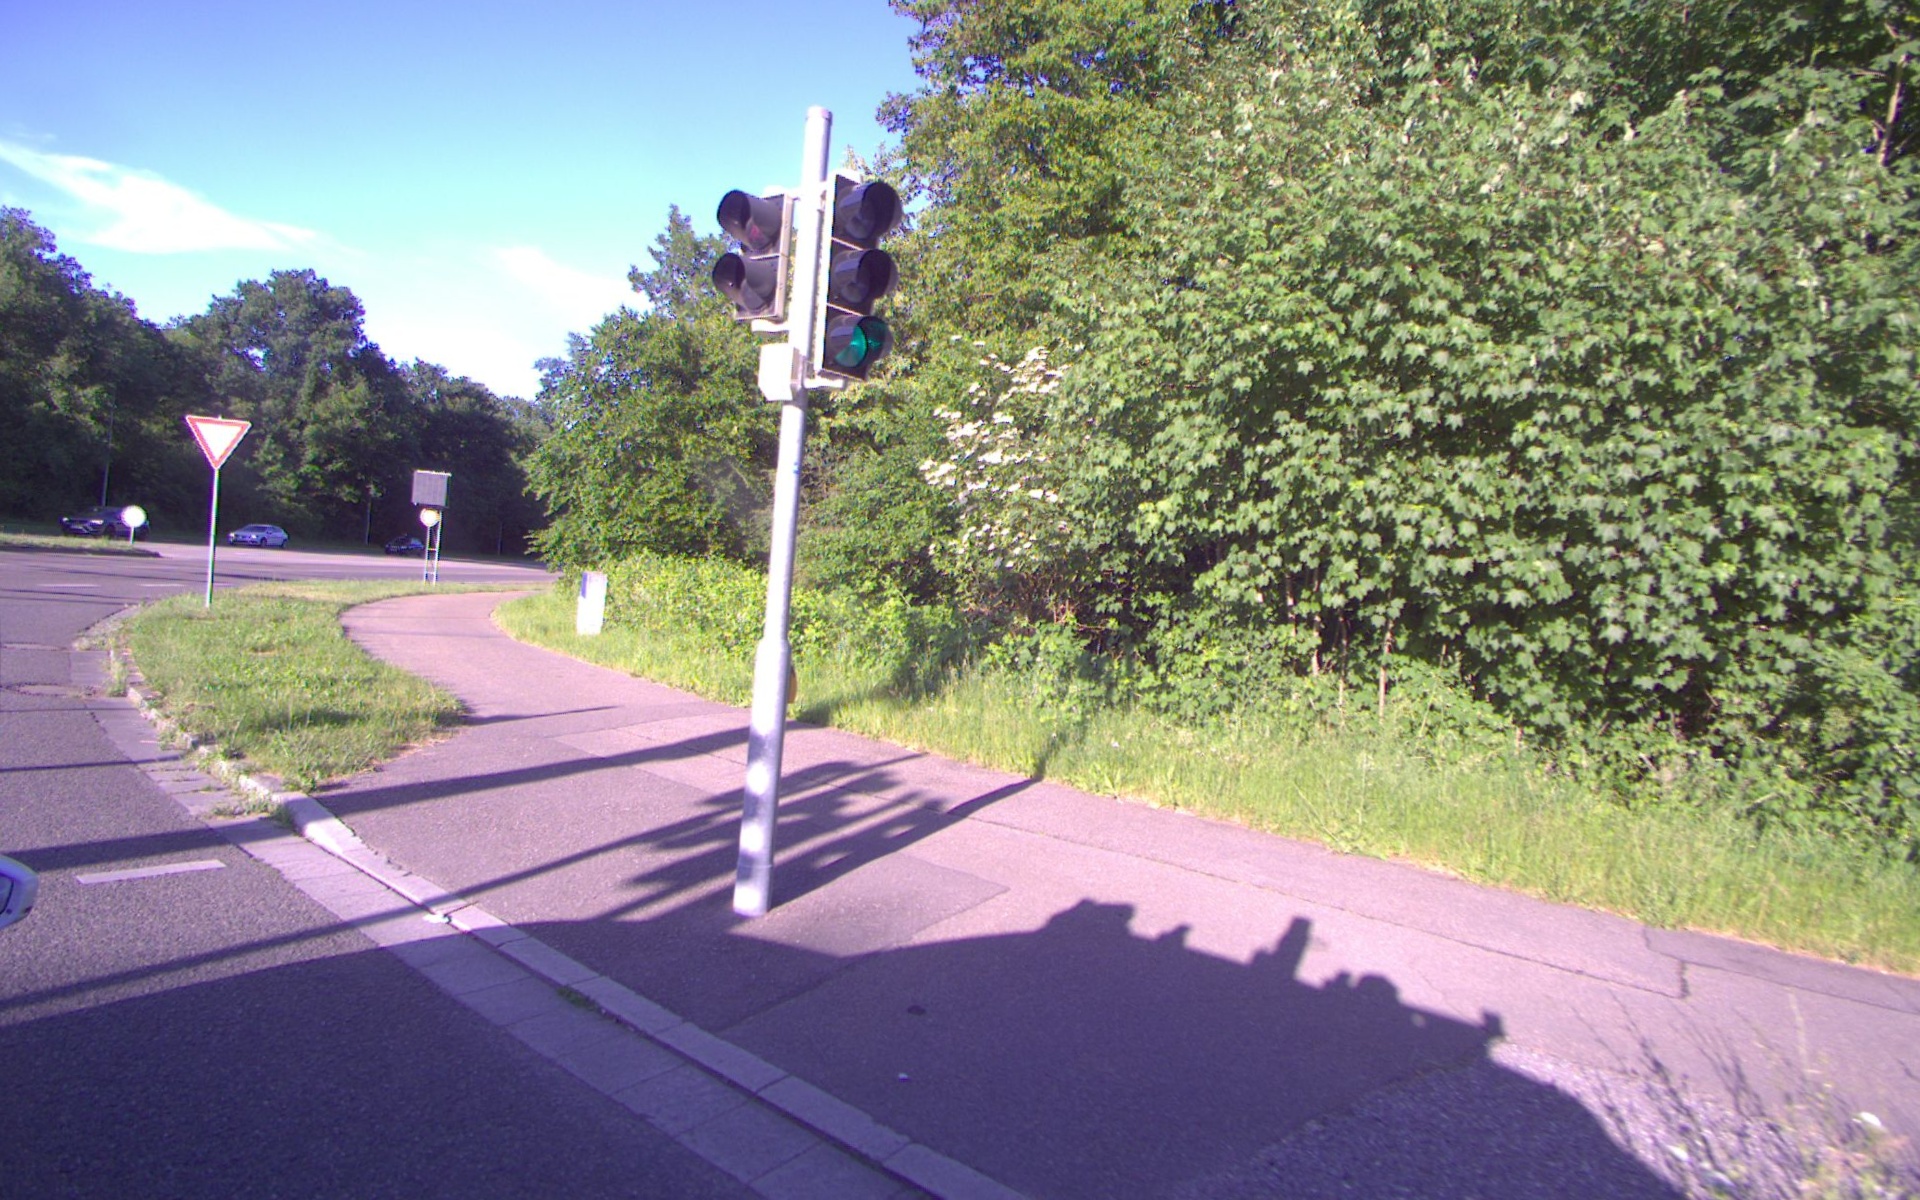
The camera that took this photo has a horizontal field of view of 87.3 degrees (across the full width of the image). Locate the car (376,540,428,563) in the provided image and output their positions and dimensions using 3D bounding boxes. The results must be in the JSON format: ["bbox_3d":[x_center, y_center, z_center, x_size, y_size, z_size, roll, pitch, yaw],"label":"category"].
[{"bbox_3d":[-46.263,-3.980,83.557,1.964,1.548,4.646,6,0,-6],"label":"car"}]

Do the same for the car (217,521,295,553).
[{"bbox_3d":[-43.822,-3.908,62.753,1.965,1.548,4.644,6,0,-7],"label":"car"}]

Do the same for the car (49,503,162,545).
[{"bbox_3d":[-41.597,-3.662,49.138,1.966,1.548,4.643,6,0,-9],"label":"car"}]
